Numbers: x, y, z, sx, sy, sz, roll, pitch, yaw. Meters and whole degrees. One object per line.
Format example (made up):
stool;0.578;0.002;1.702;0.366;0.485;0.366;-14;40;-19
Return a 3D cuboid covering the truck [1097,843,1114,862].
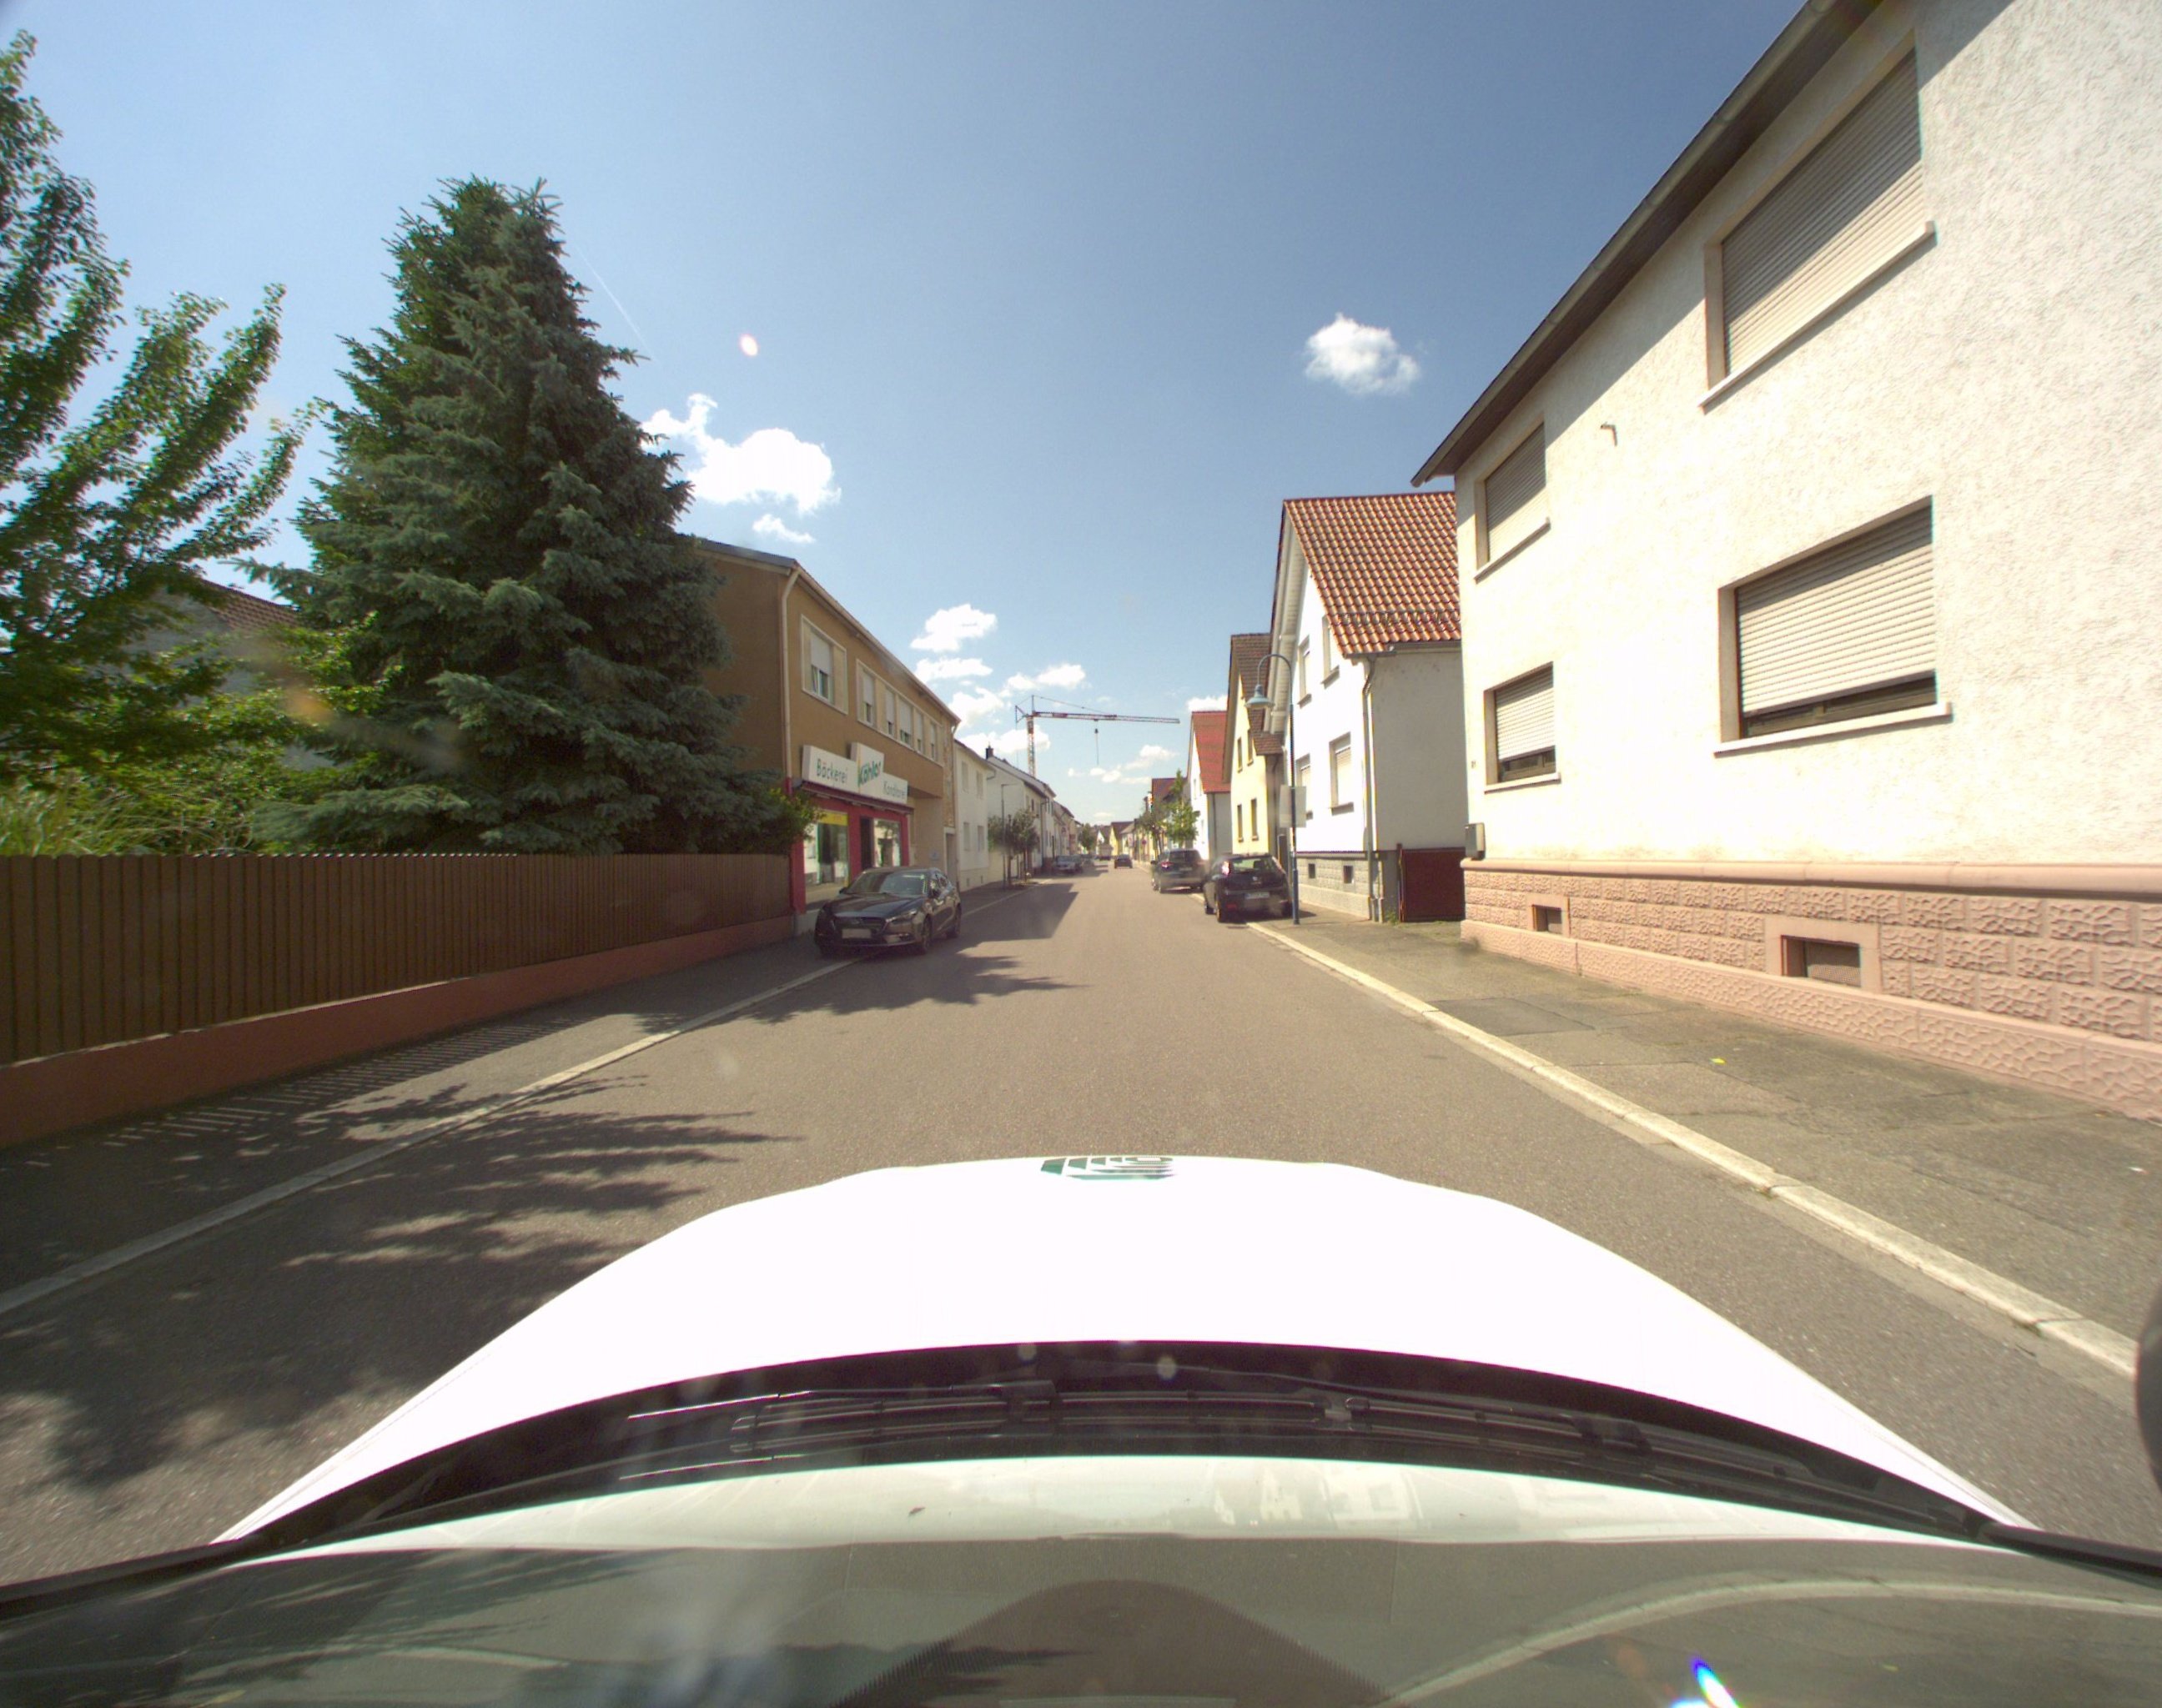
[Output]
truck;5.329;-0.325;180.805;3.367;3.865;13.926;-3;0;1

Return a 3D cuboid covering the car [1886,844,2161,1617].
car;2.776;0.681;0.153;1.682;1.422;3.658;-2;0;2

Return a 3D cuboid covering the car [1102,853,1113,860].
car;7.025;0.582;217.255;1.786;1.753;4.207;-3;0;-15

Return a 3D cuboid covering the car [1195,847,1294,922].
car;3.808;0.663;19.602;1.611;1.495;3.973;-5;0;2

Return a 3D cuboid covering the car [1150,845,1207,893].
car;3.784;0.552;32.240;1.723;1.717;4.275;-2;0;0

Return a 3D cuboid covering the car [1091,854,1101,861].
car;4.209;0.899;226.706;1.824;1.753;4.208;-3;0;-14

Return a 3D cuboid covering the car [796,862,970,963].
car;-3.364;0.924;14.778;1.760;1.460;4.441;-2;0;4

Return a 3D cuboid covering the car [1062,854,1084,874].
car;-0.667;0.874;70.772;1.647;1.609;4.062;-2;0;1

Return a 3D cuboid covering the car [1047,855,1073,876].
car;-1.598;0.842;64.260;1.752;1.525;4.290;-2;0;1

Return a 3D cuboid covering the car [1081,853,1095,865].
car;1.022;0.678;110.282;1.716;1.555;4.175;-1;0;3

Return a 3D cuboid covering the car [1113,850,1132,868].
car;4.259;0.496;83.570;1.776;1.753;4.001;-3;0;1
